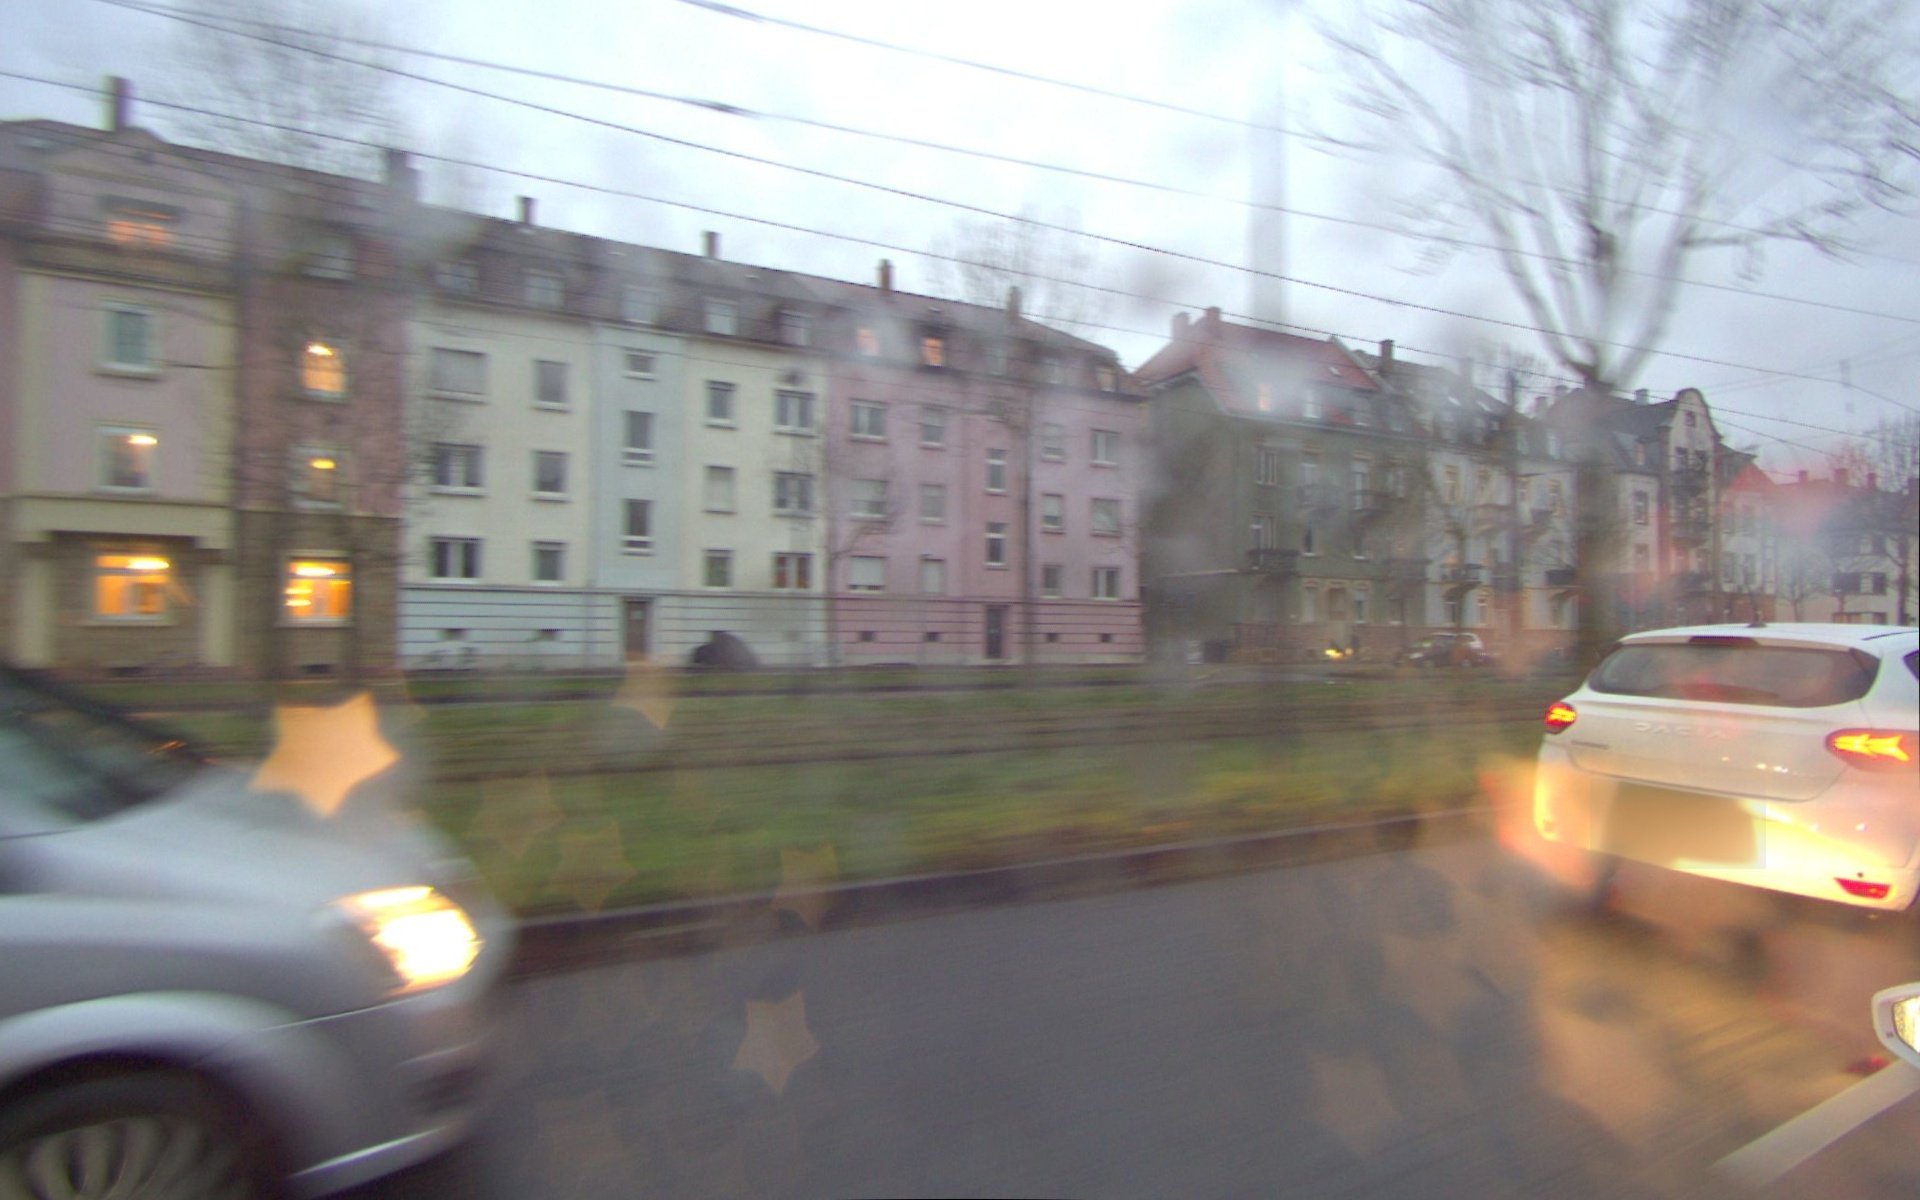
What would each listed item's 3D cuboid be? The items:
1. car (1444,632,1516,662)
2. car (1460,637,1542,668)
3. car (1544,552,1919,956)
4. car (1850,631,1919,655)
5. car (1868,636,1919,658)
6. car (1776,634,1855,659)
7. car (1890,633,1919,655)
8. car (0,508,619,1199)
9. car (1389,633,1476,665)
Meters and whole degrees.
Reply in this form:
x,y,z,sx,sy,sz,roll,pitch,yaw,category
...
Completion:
x,y,z,sx,sy,sz,roll,pitch,yaw,category
27.856,2.488,53.769,3.512,1.520,1.769,1,-2,-28,car
25.399,2.436,47.139,3.512,1.372,1.769,1,-2,-28,car
5.261,0.667,5.641,4.005,1.621,1.664,2,-1,-30,car
56.180,2.596,60.785,1.745,1.372,3.559,0,-2,6,car
58.806,2.902,62.425,1.745,1.372,3.559,0,-2,6,car
49.292,2.655,57.956,1.745,1.372,3.559,0,-2,6,car
61.847,2.822,64.213,1.745,1.372,3.559,0,-2,6,car
-2.953,0.631,2.047,4.005,1.621,1.801,2,-1,-30,car
21.105,2.172,44.839,3.512,1.372,1.769,1,-2,-28,car
